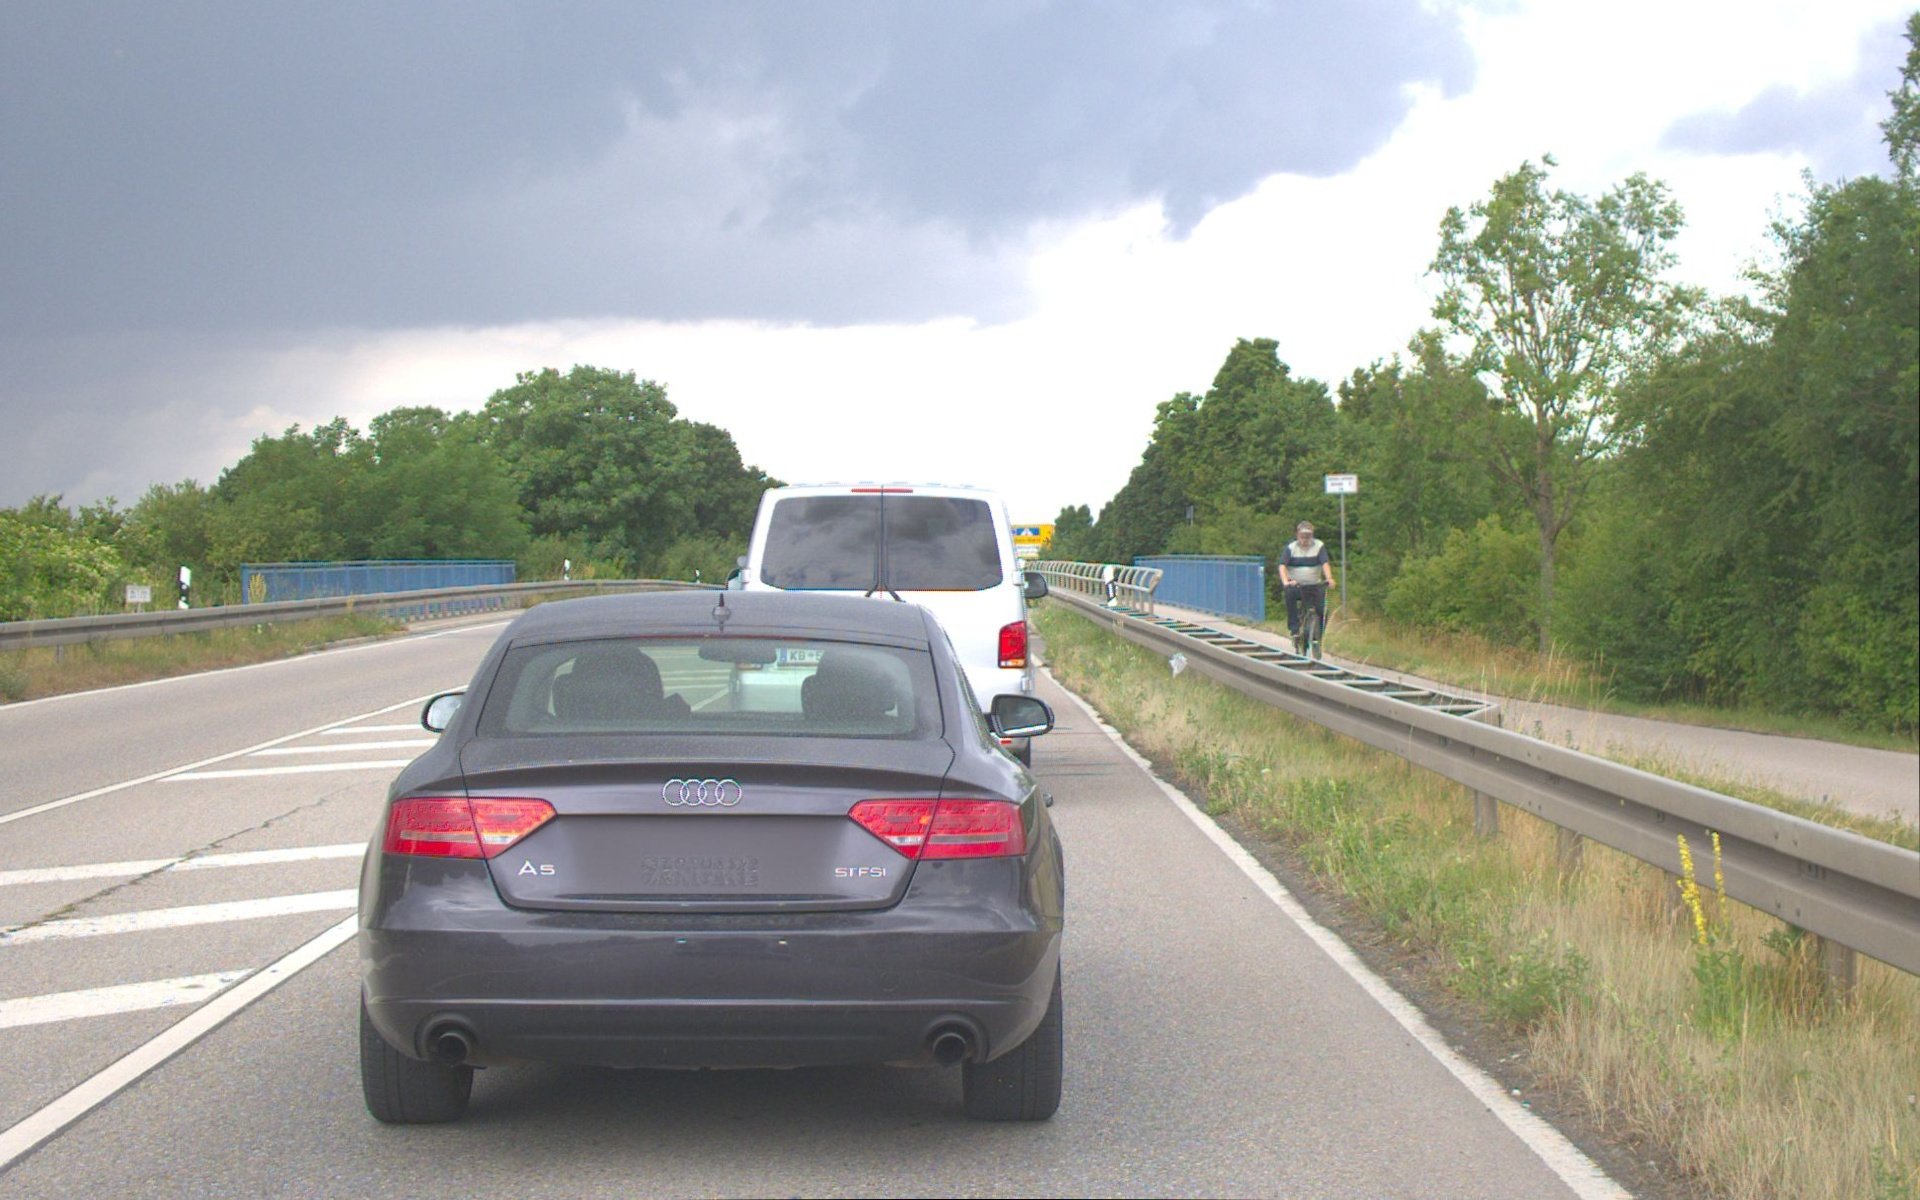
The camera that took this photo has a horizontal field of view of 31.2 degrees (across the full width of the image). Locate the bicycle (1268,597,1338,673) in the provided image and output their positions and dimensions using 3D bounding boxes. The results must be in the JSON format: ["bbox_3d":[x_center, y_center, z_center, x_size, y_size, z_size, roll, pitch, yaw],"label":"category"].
[{"bbox_3d":[4.275,0.426,42.988,0.666,0.917,1.830,0,0,-1],"label":"bicycle"}]

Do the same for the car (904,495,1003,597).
[{"bbox_3d":[-0.162,-1.389,88.338,2.447,2.495,5.041,1,1,0],"label":"car"}]

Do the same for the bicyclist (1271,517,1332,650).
[{"bbox_3d":[4.271,-0.210,43.032,0.647,1.639,0.866,0,0,-1],"label":"bicyclist"}]

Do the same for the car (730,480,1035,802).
[{"bbox_3d":[-0.480,0.237,22.373,1.785,1.883,4.000,1,0,-1],"label":"car"}]

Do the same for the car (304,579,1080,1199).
[{"bbox_3d":[-0.645,0.665,10.004,1.785,1.419,4.000,1,0,-1],"label":"car"}]
